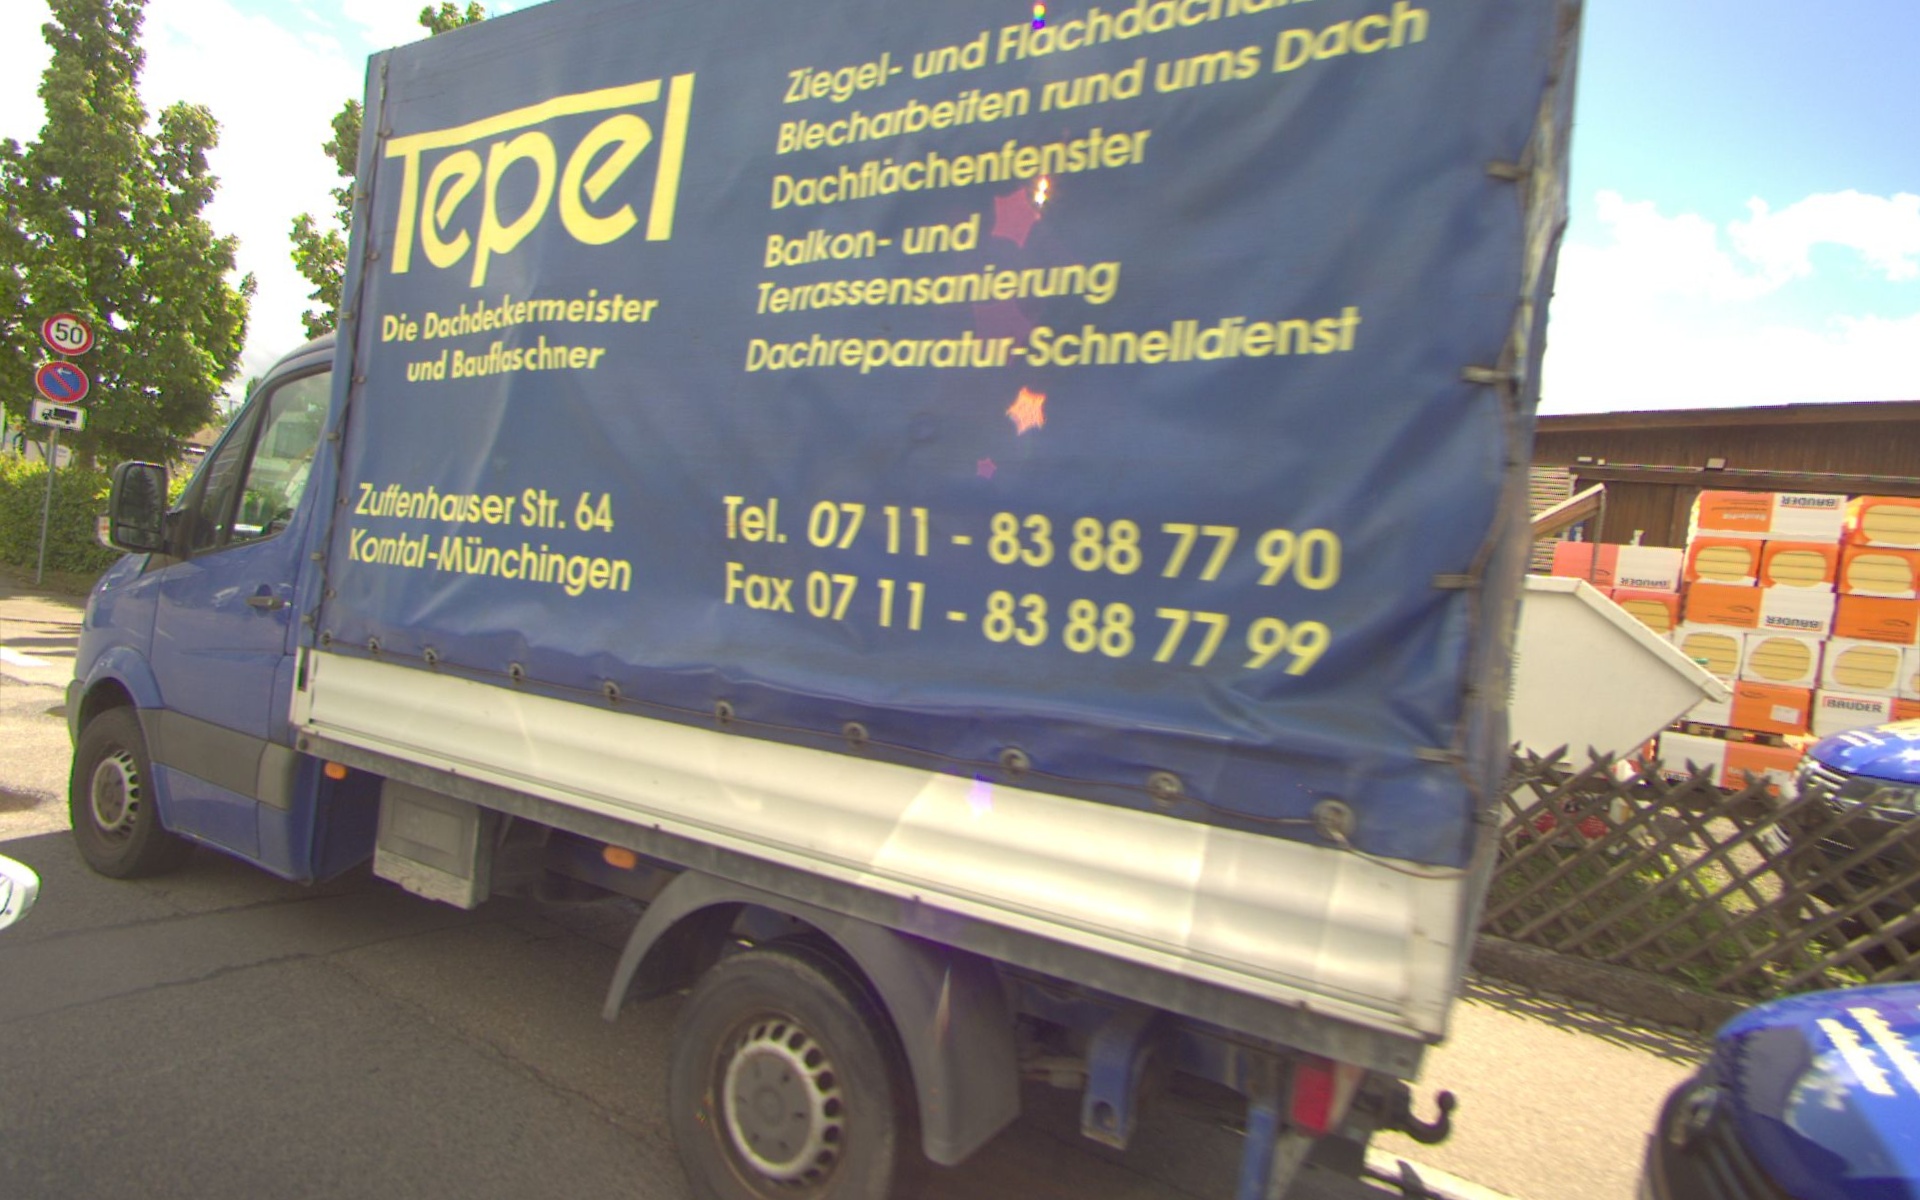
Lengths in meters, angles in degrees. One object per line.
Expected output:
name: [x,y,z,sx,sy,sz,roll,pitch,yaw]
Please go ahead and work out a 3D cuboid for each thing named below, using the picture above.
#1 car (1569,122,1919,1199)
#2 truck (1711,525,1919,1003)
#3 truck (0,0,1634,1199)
car: [3.255,0.817,0.926,4.390,2.194,1.877,7,-1,32]
truck: [6.690,1.058,4.183,5.294,2.111,1.829,9,5,31]
truck: [-1.140,-0.183,3.906,5.942,3.133,2.325,7,-1,32]
